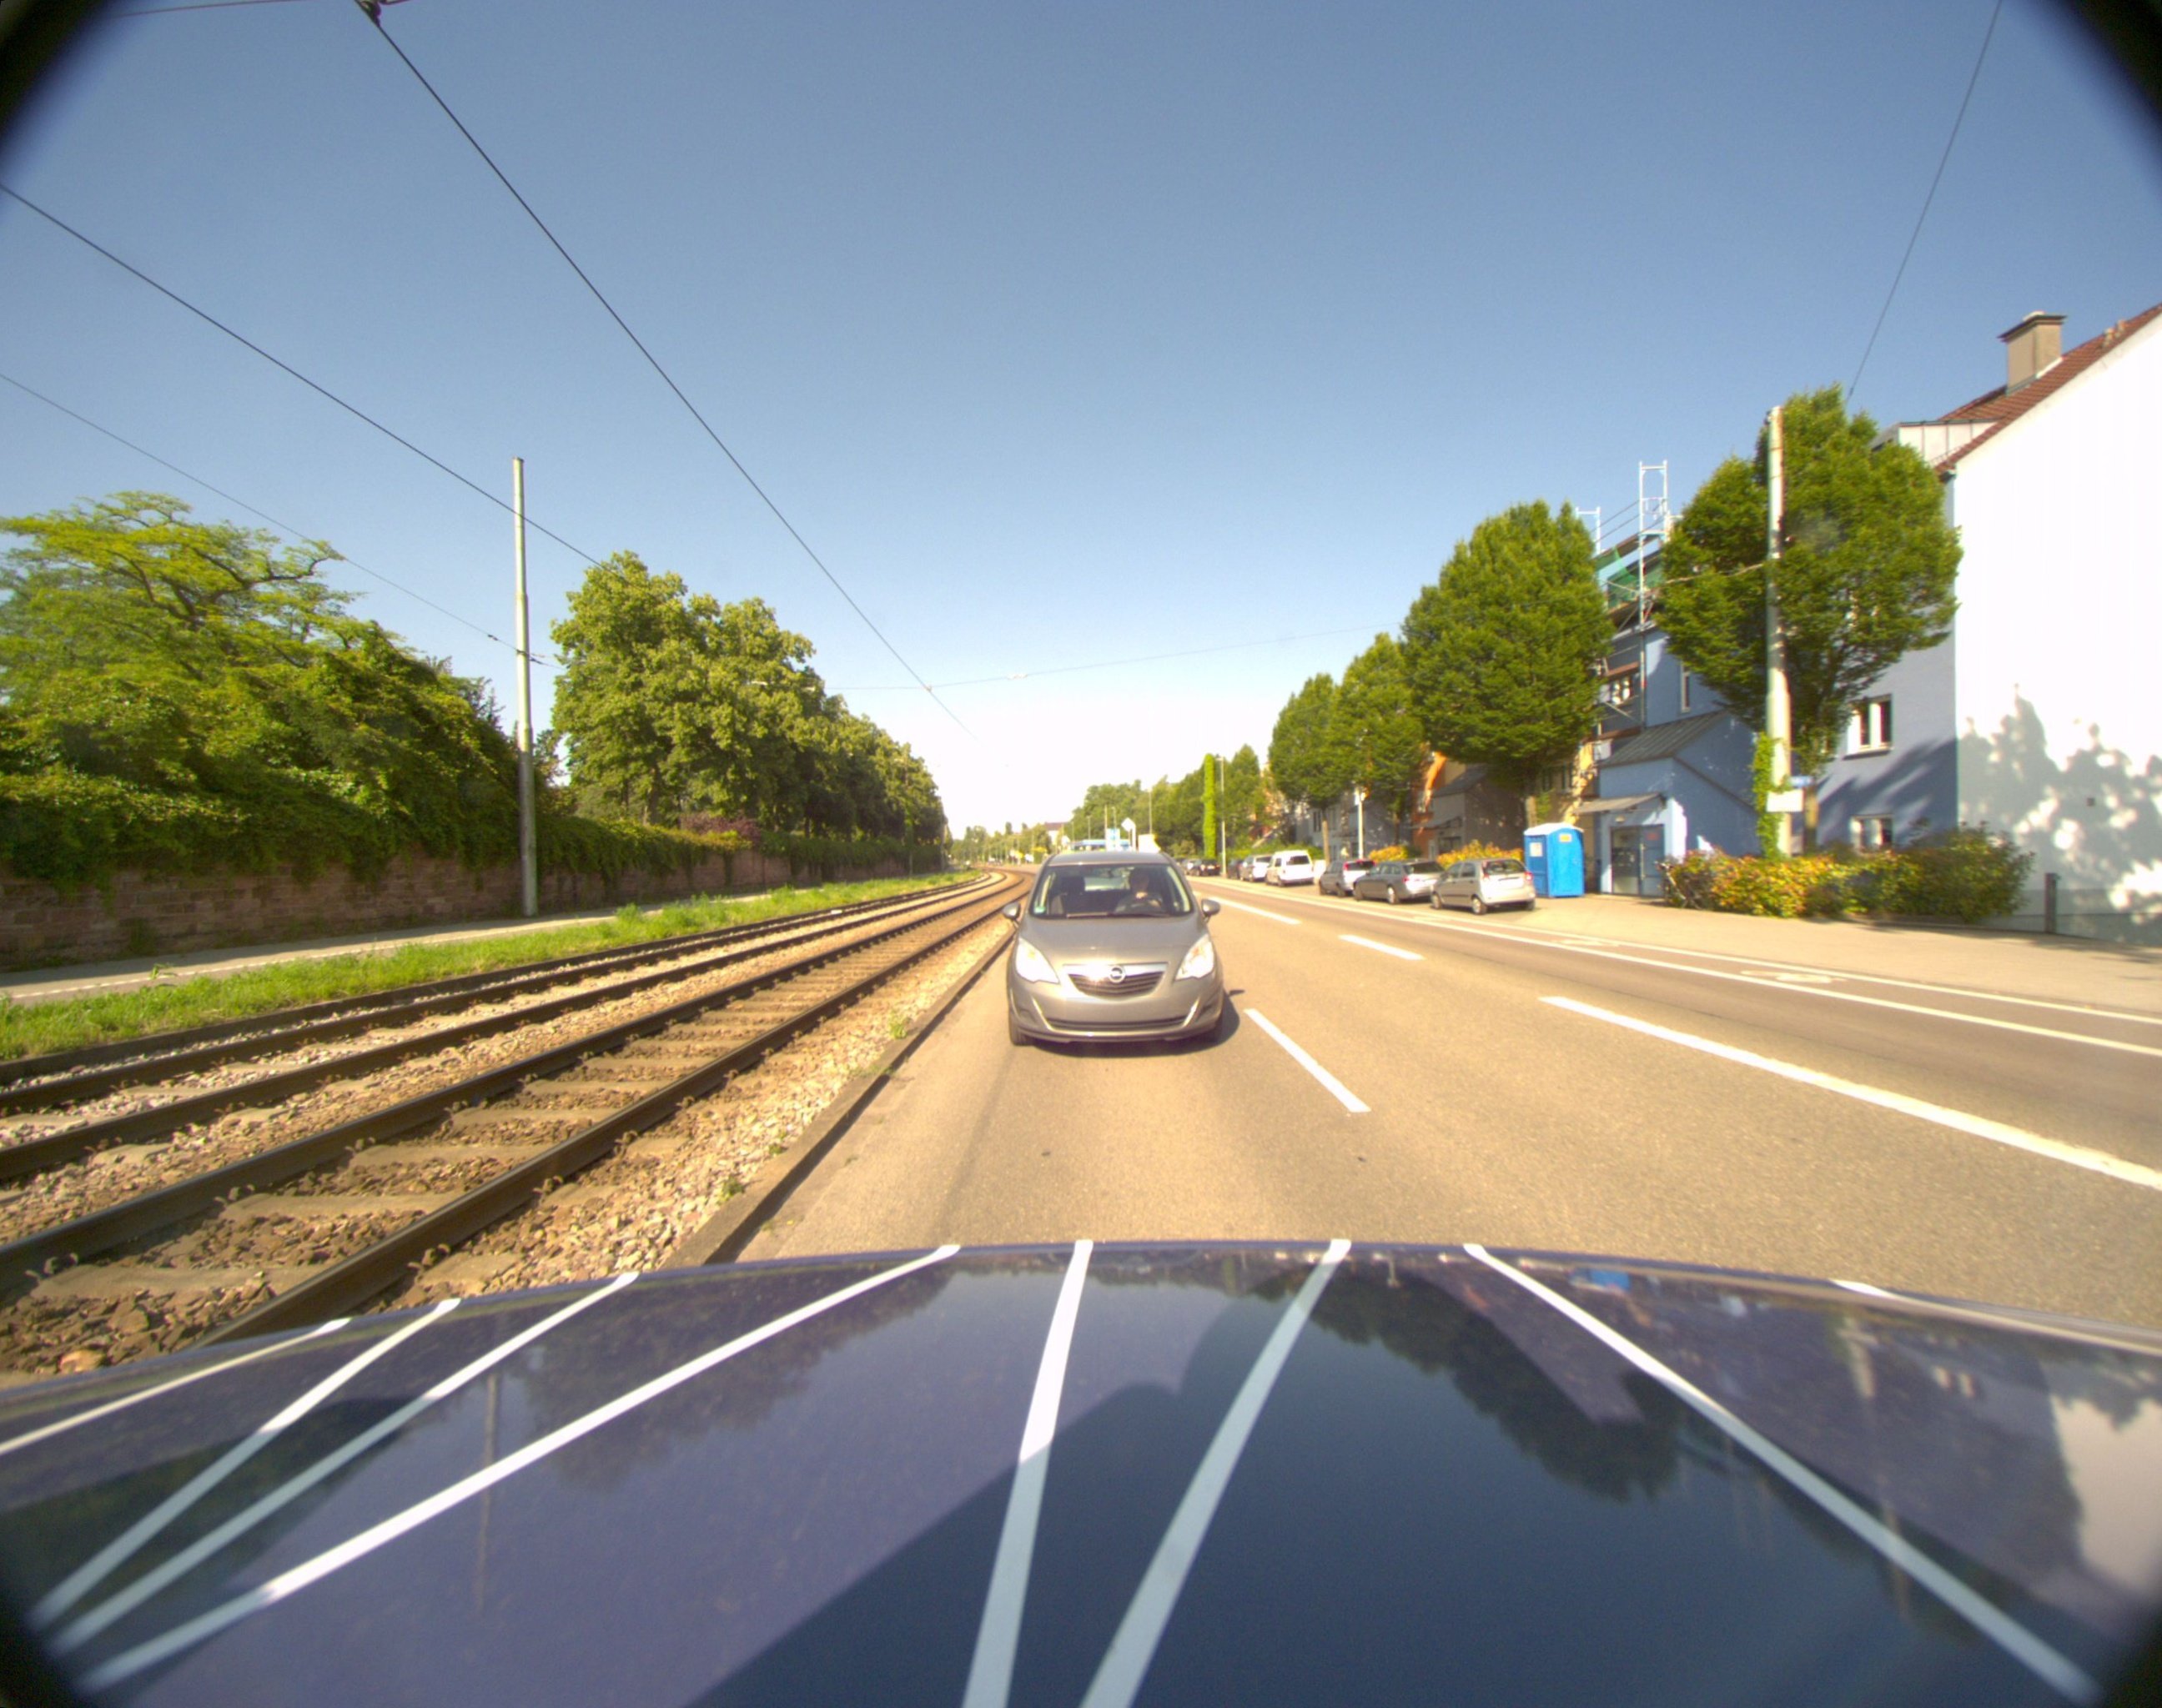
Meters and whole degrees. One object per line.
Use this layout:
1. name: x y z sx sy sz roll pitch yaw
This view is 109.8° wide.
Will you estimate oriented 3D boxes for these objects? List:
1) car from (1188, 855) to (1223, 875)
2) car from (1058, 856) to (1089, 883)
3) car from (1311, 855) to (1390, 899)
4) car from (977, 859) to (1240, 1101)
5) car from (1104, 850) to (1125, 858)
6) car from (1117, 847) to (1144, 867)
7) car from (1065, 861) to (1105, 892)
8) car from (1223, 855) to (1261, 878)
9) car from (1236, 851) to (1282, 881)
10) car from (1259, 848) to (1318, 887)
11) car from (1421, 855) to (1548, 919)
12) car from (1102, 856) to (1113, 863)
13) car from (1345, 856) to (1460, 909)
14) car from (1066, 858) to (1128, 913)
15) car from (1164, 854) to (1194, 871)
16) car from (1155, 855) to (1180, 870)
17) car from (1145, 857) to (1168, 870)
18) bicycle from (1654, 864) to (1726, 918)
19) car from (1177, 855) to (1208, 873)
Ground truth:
1. car: 10.525 0.872 64.719 1.871 1.535 4.908 -3 0 -3
2. car: -0.524 0.945 49.109 1.710 1.581 3.998 -3 0 -4
3. car: 11.123 0.886 31.626 1.767 1.530 3.981 -6 0 1
4. car: 0.248 0.878 7.058 1.730 1.573 3.764 -2 0 2
5. car: 8.400 -0.097 189.669 5.086 1.929 1.856 -1 0 -5
6. car: 6.633 0.444 101.922 2.159 2.443 6.179 -3 0 -9
7. car: 0.146 1.069 36.927 1.579 1.306 3.998 -3 0 -4
8. car: 11.246 0.834 53.390 1.620 1.457 4.057 -3 0 -2
9. car: 11.177 0.727 48.001 1.672 1.691 4.824 -3 0 0
10. car: 11.313 0.700 41.776 1.767 1.835 4.579 -6 0 -1
11. car: 11.253 0.860 21.475 1.605 1.486 3.509 -5 0 0
12. car: 6.088 1.204 172.206 1.742 1.482 4.271 -1 0 -8
13. car: 11.053 0.912 26.550 1.753 1.502 4.754 -5 0 -2
14. car: 0.469 0.930 23.920 1.710 1.487 4.000 -3 0 0
15. car: 9.757 0.836 75.938 1.768 1.565 4.433 -2 0 -10
16. car: 9.275 0.879 81.805 1.768 1.565 4.159 -1 1 -6
17. car: 8.647 1.021 87.104 1.657 1.416 4.710 -1 0 -7
18. bicycle: 14.326 0.844 17.922 0.444 1.147 1.785 -1 1 7
19. car: 10.293 0.896 70.599 1.717 1.463 4.841 -3 1 -5
